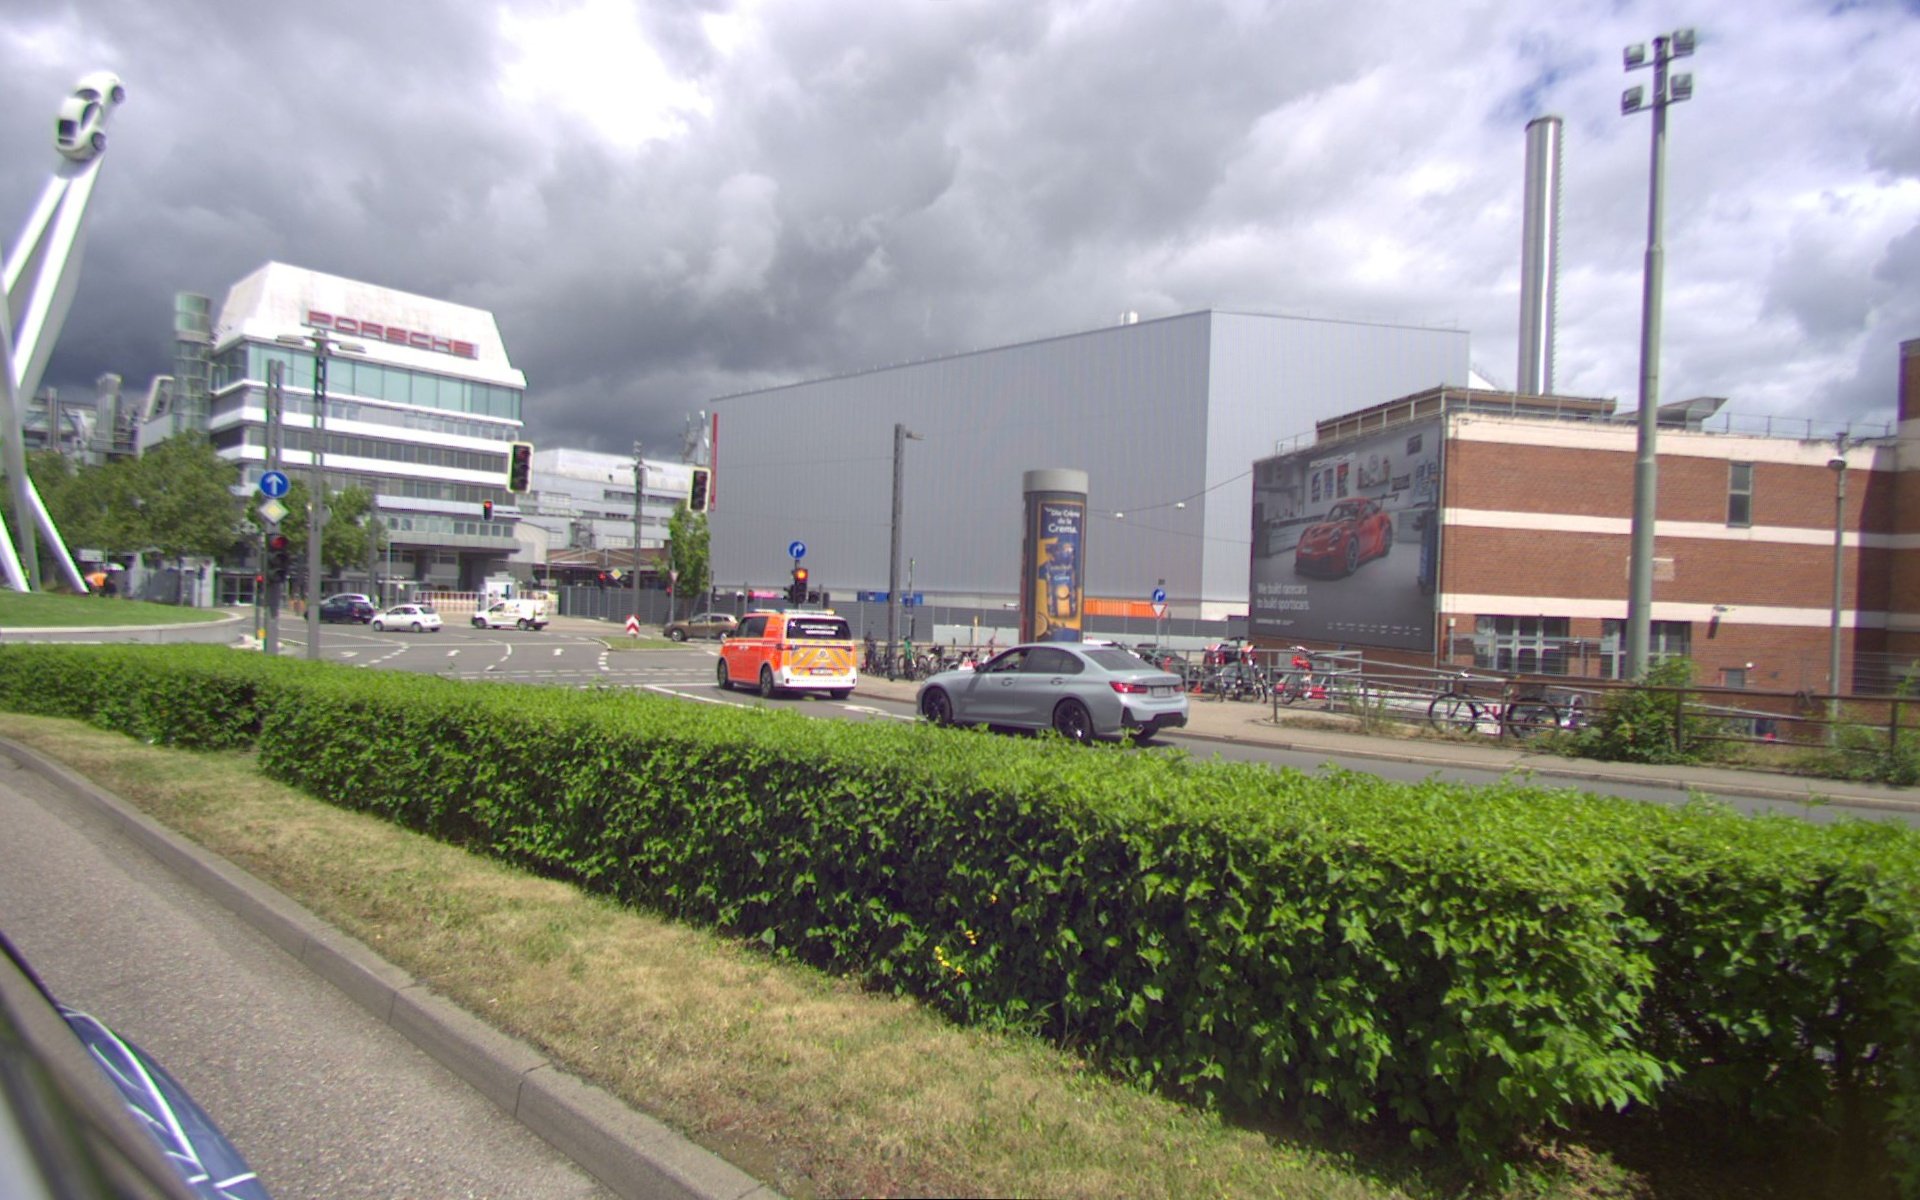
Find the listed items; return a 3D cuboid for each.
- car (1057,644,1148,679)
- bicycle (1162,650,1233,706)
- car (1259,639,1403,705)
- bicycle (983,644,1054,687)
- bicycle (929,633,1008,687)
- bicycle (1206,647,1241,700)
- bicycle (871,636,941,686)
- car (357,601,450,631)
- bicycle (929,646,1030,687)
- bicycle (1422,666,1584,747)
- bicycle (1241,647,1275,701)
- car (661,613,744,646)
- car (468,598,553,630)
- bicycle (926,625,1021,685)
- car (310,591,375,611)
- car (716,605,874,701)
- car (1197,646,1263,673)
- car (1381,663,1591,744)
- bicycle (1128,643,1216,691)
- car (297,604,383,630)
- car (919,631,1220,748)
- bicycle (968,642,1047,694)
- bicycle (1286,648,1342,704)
[{"bbox_3d":[6.271,2.653,44.247,4.123,1.380,1.623,2,-1,-41],"label":"car"},{"bbox_3d":[6.055,1.960,25.785,1.926,1.355,0.713,2,-1,-38],"label":"bicycle"},{"bbox_3d":[11.329,2.151,30.907,3.931,1.875,1.757,1,-1,-21],"label":"car"},{"bbox_3d":[1.788,1.984,30.840,2.077,1.265,0.742,1,-1,-30],"label":"bicycle"},{"bbox_3d":[0.220,1.499,25.581,1.860,1.277,0.851,1,-1,-38],"label":"bicycle"},{"bbox_3d":[5.388,1.470,20.618,0.616,0.996,1.939,0,-2,17],"label":"bicycle"},{"bbox_3d":[-1.451,1.627,27.386,1.861,1.277,0.669,1,-1,-41],"label":"bicycle"},{"bbox_3d":[-31.255,0.917,56.894,4.193,1.591,1.996,1,-1,7],"label":"car"},{"bbox_3d":[0.638,2.140,32.863,3.028,1.276,1.167,1,-1,-24],"label":"bicycle"},{"bbox_3d":[7.624,1.466,14.294,0.513,0.996,1.952,2,-2,-43],"label":"bicycle"},{"bbox_3d":[5.975,1.459,20.281,0.616,0.996,1.939,0,-2,17],"label":"bicycle"},{"bbox_3d":[-14.000,1.616,55.235,4.132,1.708,1.956,1,-1,-5],"label":"car"},{"bbox_3d":[-27.164,0.850,61.223,4.351,1.843,1.995,1,-1,9],"label":"car"},{"bbox_3d":[0.499,1.936,36.148,3.217,2.029,1.078,1,-1,-26],"label":"bicycle"},{"bbox_3d":[-46.911,0.073,76.942,3.891,1.388,1.633,1,-1,-14],"label":"car"},{"bbox_3d":[-3.910,1.112,23.337,1.966,1.973,4.642,1,-1,-32],"label":"car"},{"bbox_3d":[13.525,2.952,50.683,3.563,1.251,1.471,2,-2,-41],"label":"car"},{"bbox_3d":[10.619,2.030,20.533,3.571,1.330,1.436,0,-1,40],"label":"car"},{"bbox_3d":[4.714,1.480,22.577,1.950,0.996,0.513,-2,-2,44],"label":"bicycle"},{"bbox_3d":[-38.163,1.031,62.320,4.191,1.523,1.934,1,-1,6],"label":"car"},{"bbox_3d":[1.530,1.267,15.538,1.775,1.432,4.496,4,-3,-44],"label":"car"},{"bbox_3d":[1.163,1.632,24.552,2.012,1.176,0.622,2,-1,-40],"label":"bicycle"},{"bbox_3d":[6.929,1.453,19.760,0.619,0.996,1.928,-1,-2,32],"label":"bicycle"}]
